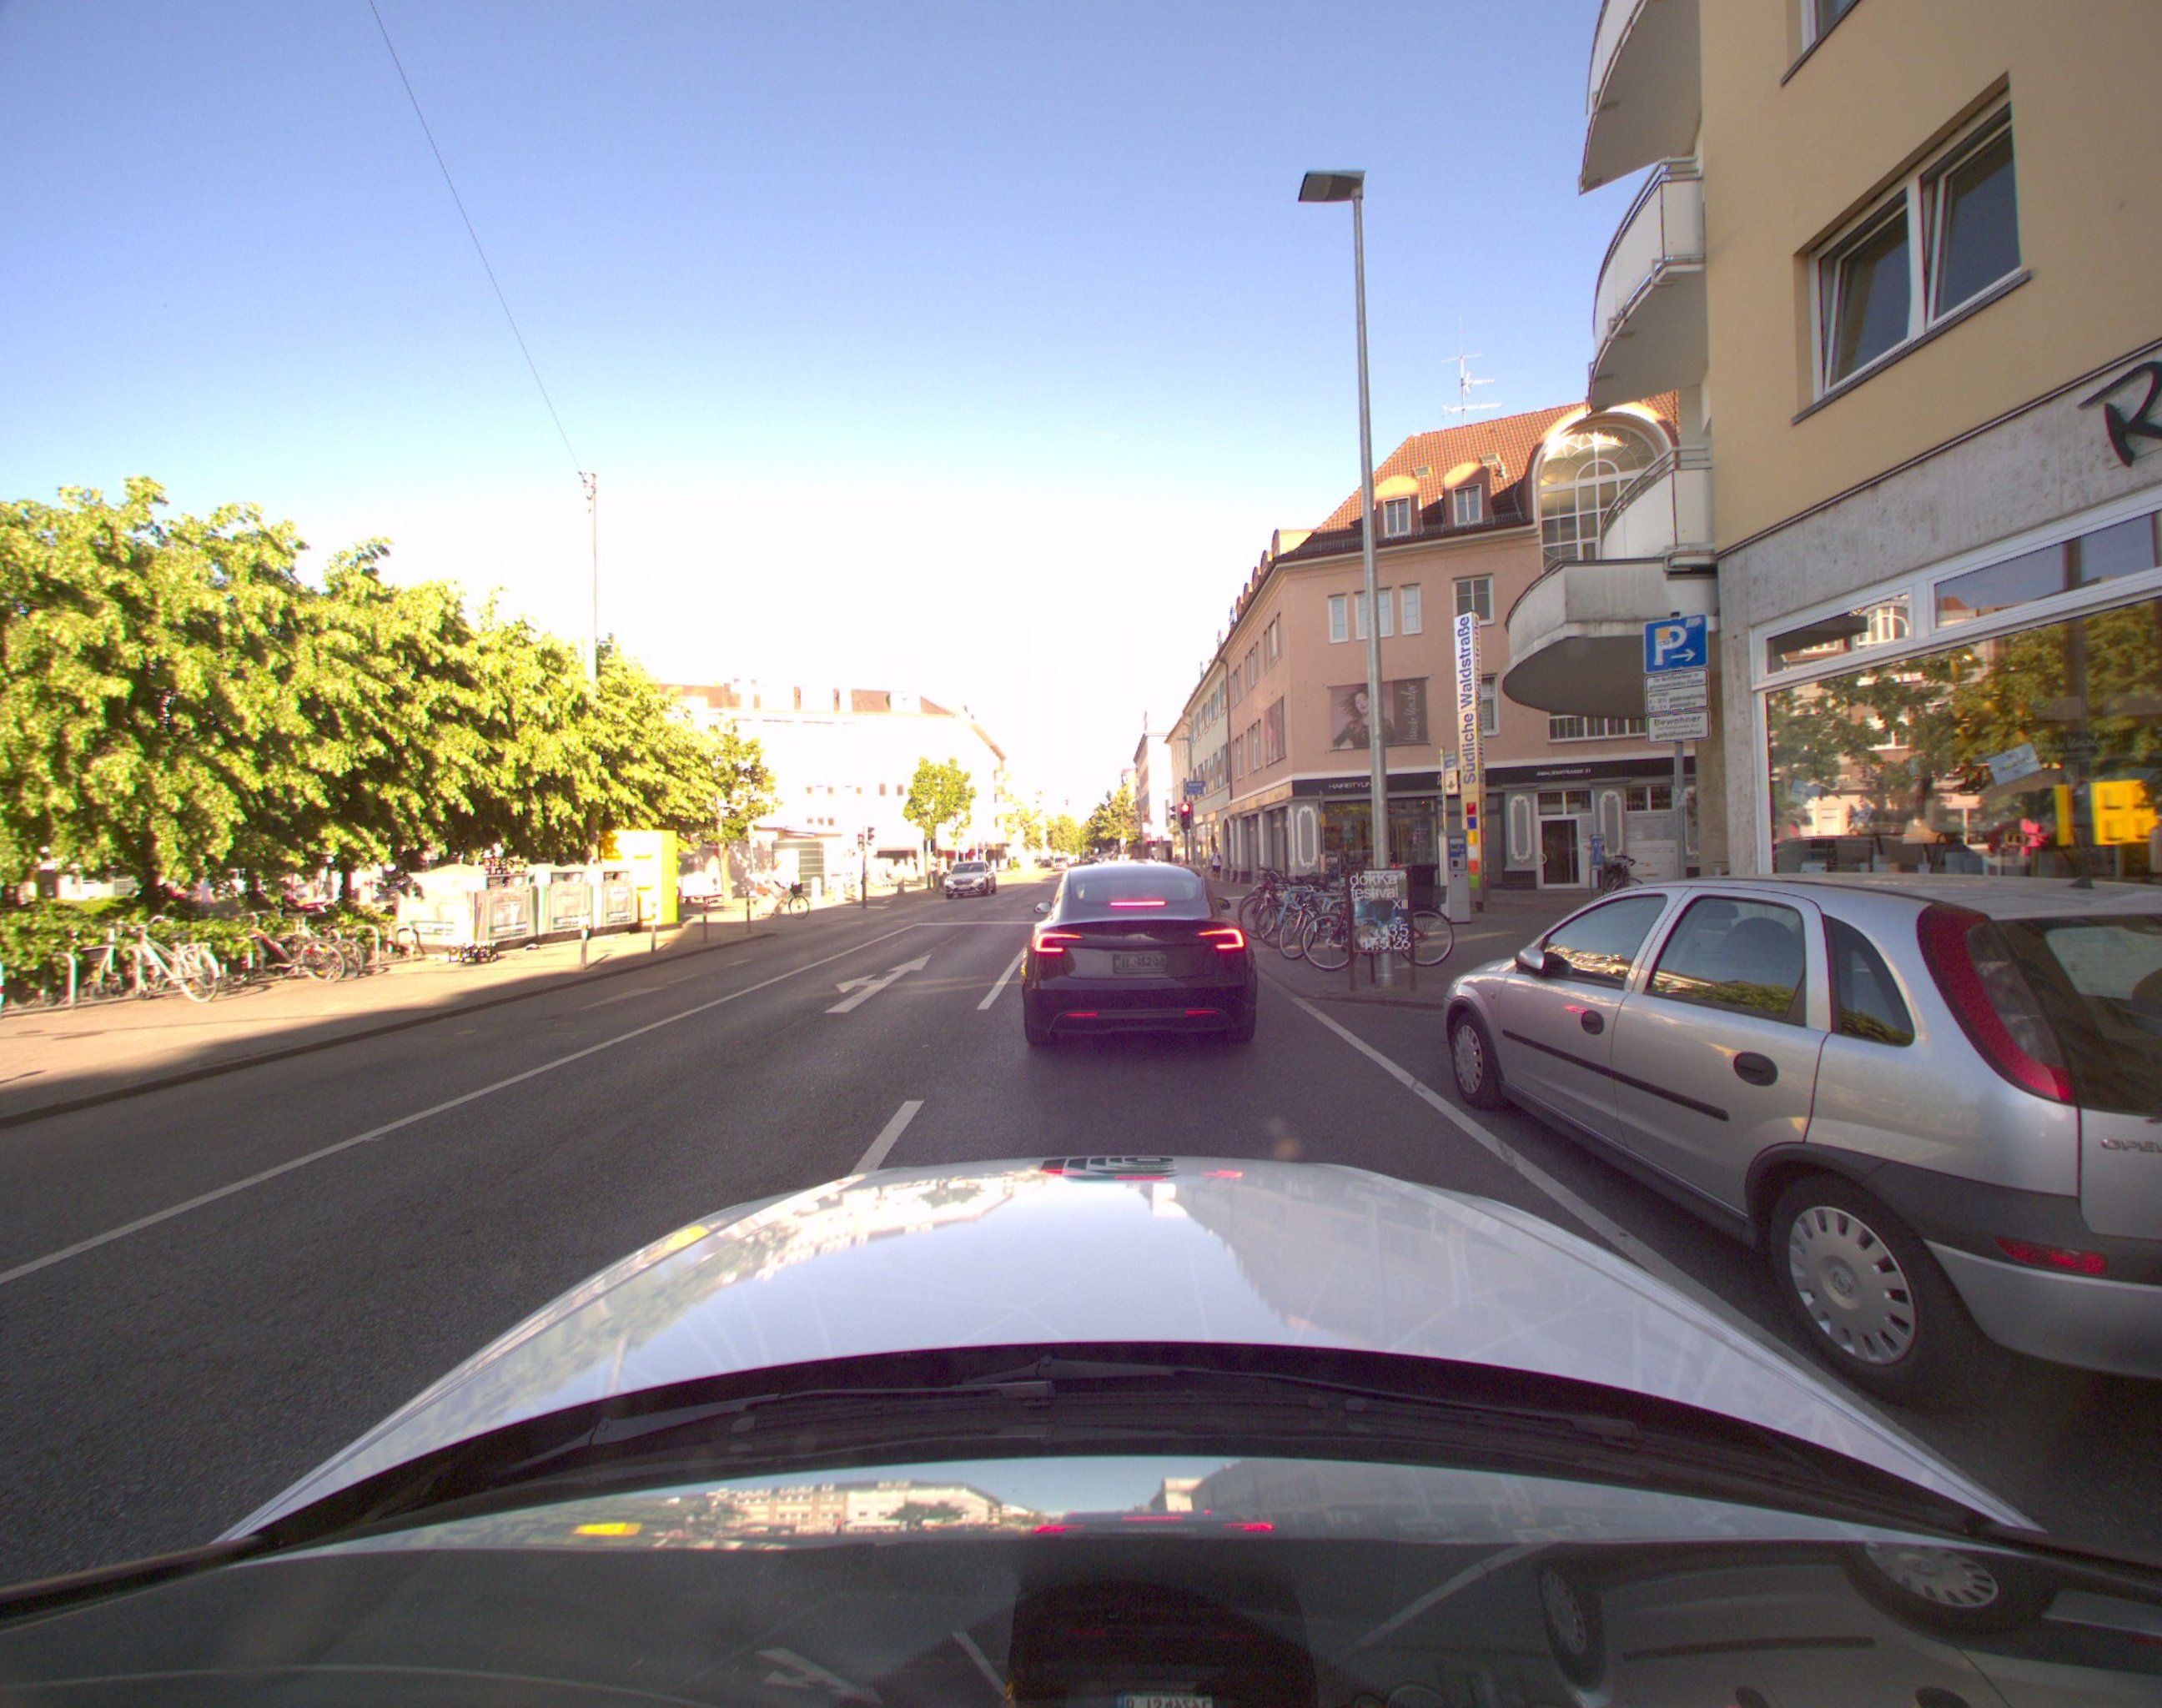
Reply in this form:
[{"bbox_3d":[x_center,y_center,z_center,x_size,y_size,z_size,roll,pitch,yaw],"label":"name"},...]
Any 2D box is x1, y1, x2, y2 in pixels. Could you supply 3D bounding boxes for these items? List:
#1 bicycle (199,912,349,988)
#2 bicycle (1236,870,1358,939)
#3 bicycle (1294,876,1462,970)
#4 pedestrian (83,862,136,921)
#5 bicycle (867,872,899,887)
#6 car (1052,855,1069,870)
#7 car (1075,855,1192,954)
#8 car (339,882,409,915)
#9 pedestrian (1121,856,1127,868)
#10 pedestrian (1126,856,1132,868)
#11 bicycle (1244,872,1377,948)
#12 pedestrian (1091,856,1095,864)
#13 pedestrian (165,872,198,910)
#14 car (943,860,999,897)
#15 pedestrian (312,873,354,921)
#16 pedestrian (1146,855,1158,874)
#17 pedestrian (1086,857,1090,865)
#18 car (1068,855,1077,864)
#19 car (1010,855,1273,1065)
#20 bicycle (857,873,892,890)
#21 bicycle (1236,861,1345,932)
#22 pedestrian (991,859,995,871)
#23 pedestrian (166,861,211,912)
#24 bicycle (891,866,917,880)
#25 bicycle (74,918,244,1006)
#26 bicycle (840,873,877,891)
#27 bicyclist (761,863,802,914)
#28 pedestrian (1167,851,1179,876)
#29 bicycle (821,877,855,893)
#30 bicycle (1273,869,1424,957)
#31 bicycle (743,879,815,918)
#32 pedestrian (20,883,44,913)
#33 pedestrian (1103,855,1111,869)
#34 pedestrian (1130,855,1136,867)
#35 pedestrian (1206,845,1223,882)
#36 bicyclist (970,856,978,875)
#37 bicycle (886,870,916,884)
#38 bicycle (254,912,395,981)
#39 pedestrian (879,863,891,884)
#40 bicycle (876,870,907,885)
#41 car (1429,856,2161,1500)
[{"bbox_3d":[-11.529,1.351,11.642,1.913,1.003,0.518,-1,-1,11],"label":"bicycle"},{"bbox_3d":[3.585,0.841,13.644,1.863,1.038,0.548,-3,-1,7],"label":"bicycle"},{"bbox_3d":[3.616,0.839,10.001,1.862,1.038,0.354,-3,-1,8],"label":"bicycle"},{"bbox_3d":[-34.262,1.309,28.736,0.890,2.013,0.893,-1,0,15],"label":"pedestrian"},{"bbox_3d":[-12.216,1.577,50.235,1.857,0.934,0.606,0,-1,0],"label":"bicycle"},{"bbox_3d":[-2.424,1.006,97.517,1.780,1.646,4.404,0,-1,2],"label":"car"},{"bbox_3d":[0.794,0.750,13.939,1.712,1.425,3.757,-1,0,0],"label":"car"},{"bbox_3d":[-33.187,2.057,38.184,3.526,1.386,1.703,-1,0,36],"label":"car"},{"bbox_3d":[5.026,0.890,95.886,0.474,1.417,0.517,0,-1,-29],"label":"pedestrian"},{"bbox_3d":[5.635,0.978,95.221,0.524,1.422,0.475,0,-1,-28],"label":"pedestrian"},{"bbox_3d":[3.491,0.853,12.493,1.864,1.038,0.534,-3,-1,5],"label":"bicycle"},{"bbox_3d":[3.009,1.437,204.252,0.927,2.014,0.939,0,-1,1],"label":"pedestrian"},{"bbox_3d":[-40.819,1.682,36.947,0.754,1.698,0.793,-1,0,25],"label":"pedestrian"},{"bbox_3d":[-4.857,1.047,36.456,1.782,1.460,3.759,-4,-1,2],"label":"car"},{"bbox_3d":[-32.167,1.823,35.022,1.025,2.014,1.061,-1,-1,31],"label":"pedestrian"},{"bbox_3d":[6.054,0.876,69.394,0.756,1.631,0.951,0,-1,-16],"label":"pedestrian"},{"bbox_3d":[1.784,1.731,203.896,0.927,2.014,0.939,0,-1,1],"label":"pedestrian"},{"bbox_3d":[-1.958,1.311,187.547,1.986,2.013,4.001,0,0,1],"label":"car"},{"bbox_3d":[0.485,0.764,7.727,1.816,1.442,4.001,-1,-1,2],"label":"car"},{"bbox_3d":[-12.091,1.615,47.756,1.857,0.934,0.606,0,-1,0],"label":"bicycle"},{"bbox_3d":[3.776,0.762,14.787,1.818,1.169,0.507,-3,-1,7],"label":"bicycle"},{"bbox_3d":[-10.424,1.276,96.590,0.459,1.460,0.517,-1,0,-3],"label":"pedestrian"},{"bbox_3d":[-36.132,1.299,32.976,0.890,2.013,0.893,-1,0,15],"label":"pedestrian"},{"bbox_3d":[-17.072,1.818,78.587,2.373,1.296,0.509,0,-1,-25],"label":"bicycle"},{"bbox_3d":[-11.624,1.341,10.276,1.919,1.015,0.518,-1,-1,12],"label":"bicycle"},{"bbox_3d":[-12.455,1.554,45.653,1.857,0.934,0.606,-1,0,0],"label":"bicycle"},{"bbox_3d":[-8.997,1.029,24.479,0.885,1.482,0.704,-1,-1,11],"label":"bicyclist"},{"bbox_3d":[6.440,0.679,56.975,0.704,1.742,0.540,-1,0,1],"label":"pedestrian"},{"bbox_3d":[-12.841,1.634,43.078,1.640,0.792,0.606,0,-1,-3],"label":"bicycle"},{"bbox_3d":[3.650,0.808,11.194,1.864,1.087,0.415,-3,-1,5],"label":"bicycle"},{"bbox_3d":[-9.065,1.331,24.487,1.922,1.118,0.711,-1,-1,10],"label":"bicycle"},{"bbox_3d":[-77.948,3.259,60.518,0.891,2.171,0.882,-1,-1,26],"label":"pedestrian"},{"bbox_3d":[3.346,1.004,103.821,0.719,1.695,0.843,-1,0,-26],"label":"pedestrian"},{"bbox_3d":[6.110,0.853,95.817,0.524,1.422,0.475,0,-1,-28],"label":"pedestrian"},{"bbox_3d":[6.524,0.444,39.689,0.747,1.765,0.838,-1,-1,6],"label":"pedestrian"},{"bbox_3d":[-8.733,0.931,66.531,0.525,1.503,0.472,0,-1,-23],"label":"bicyclist"},{"bbox_3d":[-12.189,1.558,55.203,1.857,0.934,0.606,-1,0,0],"label":"bicycle"},{"bbox_3d":[-11.322,1.373,12.199,1.888,0.955,0.518,-1,-1,11],"label":"bicycle"},{"bbox_3d":[-18.990,1.881,78.979,1.060,2.014,1.049,0,-1,-18],"label":"pedestrian"},{"bbox_3d":[-12.268,1.539,52.755,1.857,0.934,0.606,-1,0,0],"label":"bicycle"},{"bbox_3d":[2.955,0.721,3.514,1.540,1.390,3.479,-1,-1,3],"label":"car"}]
